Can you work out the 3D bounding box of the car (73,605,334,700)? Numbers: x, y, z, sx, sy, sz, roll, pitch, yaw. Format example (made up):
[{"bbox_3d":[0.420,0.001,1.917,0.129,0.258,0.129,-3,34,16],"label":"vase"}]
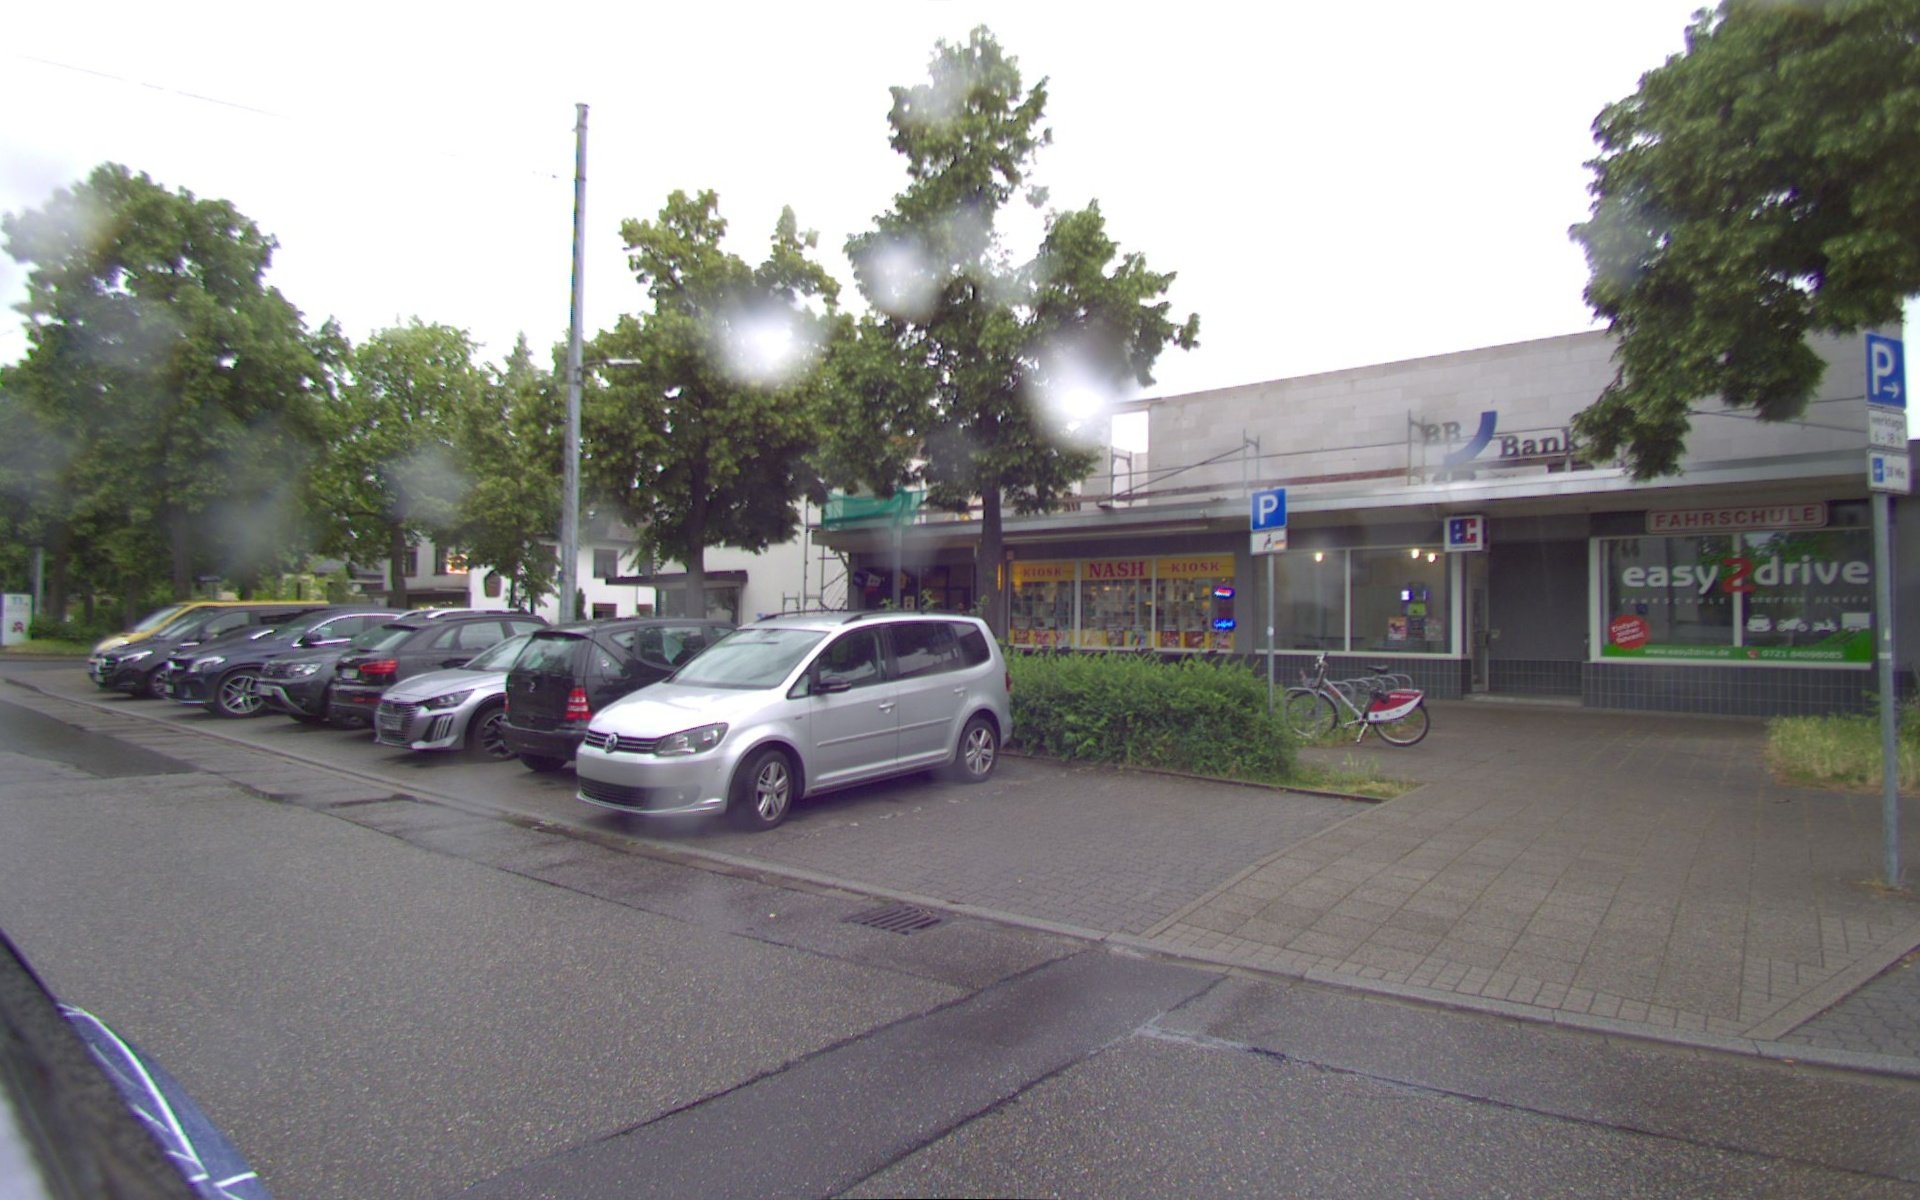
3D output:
[{"bbox_3d":[-17.444,1.113,23.570,1.713,1.973,4.600,-1,-1,38],"label":"car"}]

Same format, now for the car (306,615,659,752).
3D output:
[{"bbox_3d":[-6.570,1.029,14.350,1.713,1.607,4.231,-1,-1,38],"label":"car"}]

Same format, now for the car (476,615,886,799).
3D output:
[{"bbox_3d":[-2.839,0.976,11.146,1.633,1.577,4.231,-1,0,38],"label":"car"}]

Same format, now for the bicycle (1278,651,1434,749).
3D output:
[{"bbox_3d":[4.811,1.198,12.348,1.739,1.115,0.316,-1,0,25],"label":"bicycle"}]

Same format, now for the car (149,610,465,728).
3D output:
[{"bbox_3d":[-10.974,1.049,17.294,1.713,1.740,4.231,-1,-1,38],"label":"car"}]

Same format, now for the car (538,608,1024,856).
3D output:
[{"bbox_3d":[-1.321,0.906,9.003,1.713,1.647,4.231,-1,-1,38],"label":"car"}]

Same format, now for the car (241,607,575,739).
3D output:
[{"bbox_3d":[-8.342,0.986,15.647,1.713,1.740,4.231,-1,-1,38],"label":"car"}]

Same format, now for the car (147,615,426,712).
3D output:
[{"bbox_3d":[-12.984,1.139,19.749,1.713,1.639,4.231,-1,-1,38],"label":"car"}]

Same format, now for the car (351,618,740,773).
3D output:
[{"bbox_3d":[-4.946,1.022,12.613,1.713,1.544,4.231,-1,-1,38],"label":"car"}]

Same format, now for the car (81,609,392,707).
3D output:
[{"bbox_3d":[-15.145,1.118,21.511,1.713,1.813,5.114,-1,-1,38],"label":"car"}]

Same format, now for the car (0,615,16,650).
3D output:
[{"bbox_3d":[-49.760,1.659,50.270,1.997,1.698,3.950,-1,0,37],"label":"car"}]
